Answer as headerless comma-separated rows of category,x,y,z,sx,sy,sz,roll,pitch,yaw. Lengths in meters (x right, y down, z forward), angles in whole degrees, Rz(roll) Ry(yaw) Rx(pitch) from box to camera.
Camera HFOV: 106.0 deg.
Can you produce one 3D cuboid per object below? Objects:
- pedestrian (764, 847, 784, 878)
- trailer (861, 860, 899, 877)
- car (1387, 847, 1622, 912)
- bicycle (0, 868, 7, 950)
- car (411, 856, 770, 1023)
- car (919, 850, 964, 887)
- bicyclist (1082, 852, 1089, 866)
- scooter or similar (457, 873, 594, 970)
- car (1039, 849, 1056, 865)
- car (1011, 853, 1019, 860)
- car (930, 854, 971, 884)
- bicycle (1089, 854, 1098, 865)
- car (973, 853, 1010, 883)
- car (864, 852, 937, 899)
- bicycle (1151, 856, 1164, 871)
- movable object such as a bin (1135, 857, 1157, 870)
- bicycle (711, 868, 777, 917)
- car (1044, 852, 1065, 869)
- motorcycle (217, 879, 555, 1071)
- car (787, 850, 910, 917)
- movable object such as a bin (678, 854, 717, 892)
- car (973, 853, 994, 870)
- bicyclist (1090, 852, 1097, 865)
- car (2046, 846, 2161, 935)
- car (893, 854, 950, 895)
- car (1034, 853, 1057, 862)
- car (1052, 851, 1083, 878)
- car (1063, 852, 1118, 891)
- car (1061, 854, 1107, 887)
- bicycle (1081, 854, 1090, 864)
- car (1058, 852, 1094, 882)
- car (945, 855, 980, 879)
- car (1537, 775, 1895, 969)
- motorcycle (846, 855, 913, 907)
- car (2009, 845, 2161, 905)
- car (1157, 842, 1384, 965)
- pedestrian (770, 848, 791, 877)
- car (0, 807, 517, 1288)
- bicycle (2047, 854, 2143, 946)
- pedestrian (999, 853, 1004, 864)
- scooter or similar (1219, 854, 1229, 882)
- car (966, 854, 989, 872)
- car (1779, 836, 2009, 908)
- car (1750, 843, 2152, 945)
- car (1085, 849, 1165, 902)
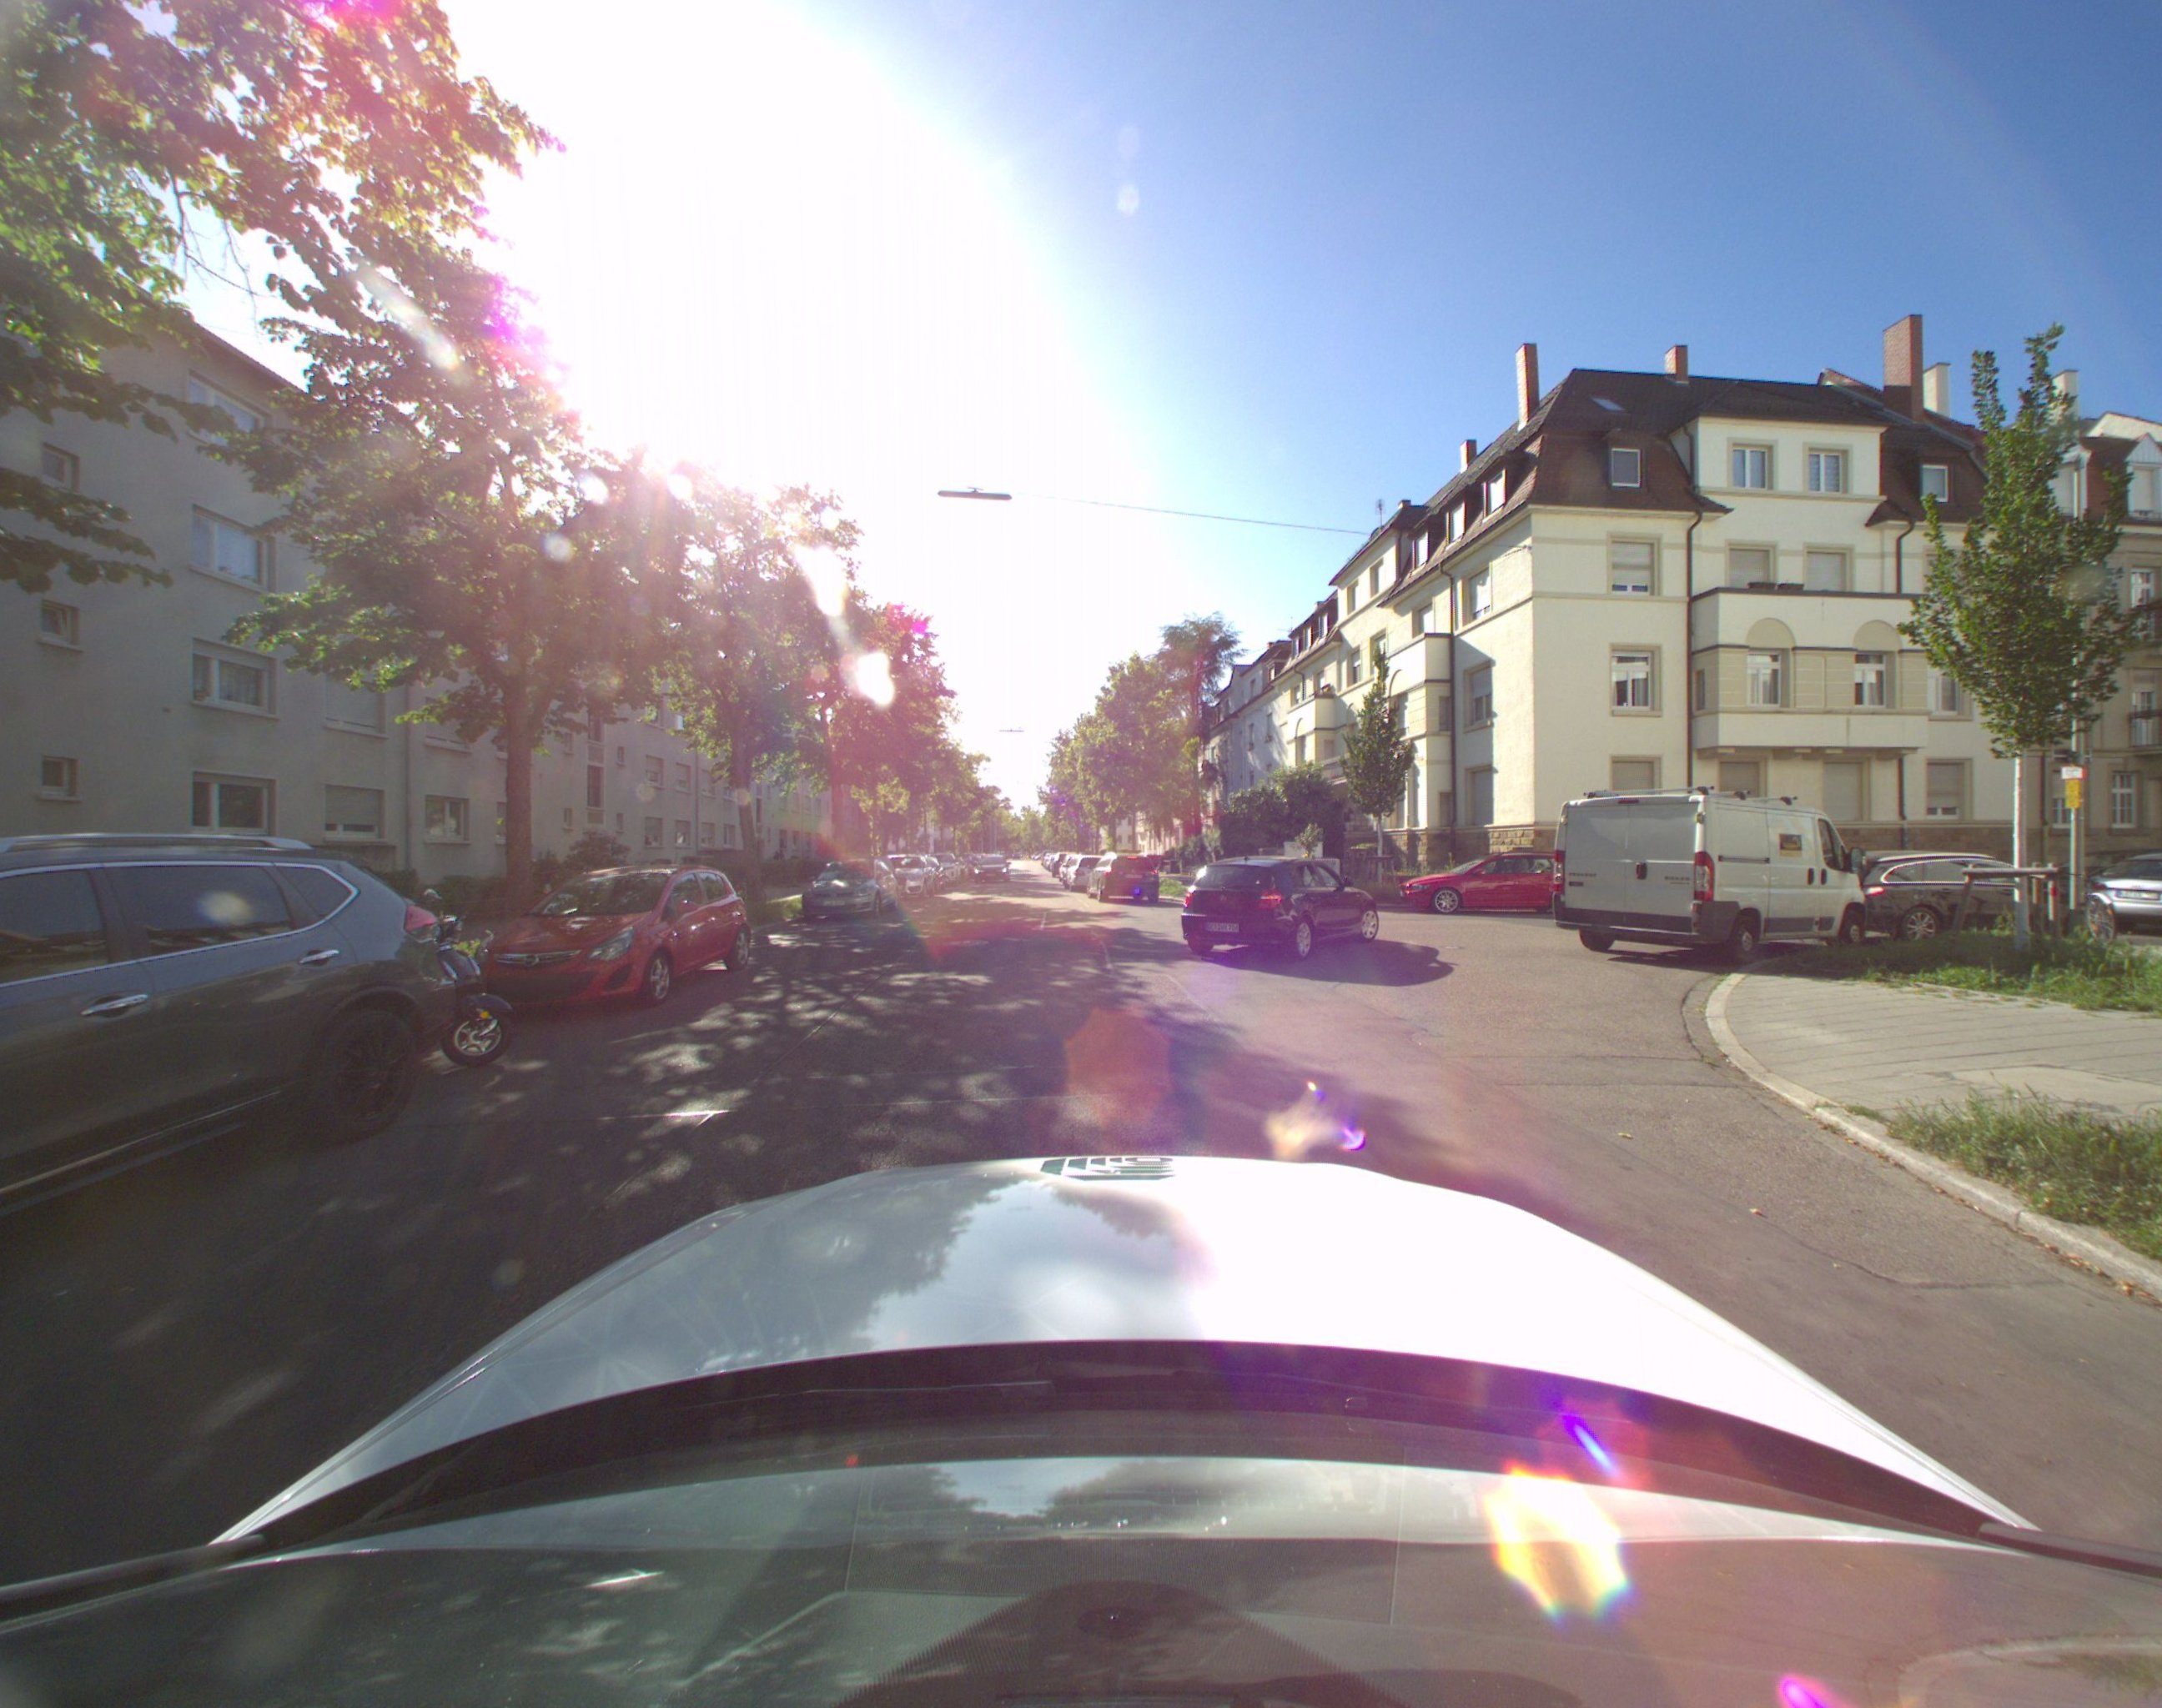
pedestrian,-19.599,0.545,51.990,0.774,1.913,0.883,-1,0,23
trailer,-13.454,0.946,54.580,1.784,1.034,3.279,-1,0,-2
car,10.075,0.598,19.746,4.689,1.469,1.959,-1,0,10
bicycle,-16.058,0.805,10.963,0.684,1.201,1.910,-1,0,-2
car,-5.284,0.783,9.556,1.852,1.469,4.177,-1,0,-4
car,-6.894,0.688,40.530,1.725,1.618,4.359,-4,0,-5
bicyclist,0.488,0.575,92.712,0.676,1.609,0.919,-1,0,-7
scooter or similar,-7.816,0.902,11.531,0.550,1.235,1.523,-1,0,26
car,-4.312,0.399,103.999,1.967,1.949,4.977,-1,0,-4
car,-15.586,0.652,192.606,1.782,1.609,3.989,-1,0,-8
car,-7.271,0.806,45.851,1.725,1.477,4.613,-4,0,-4
bicycle,1.418,0.622,92.744,0.683,1.153,2.397,-1,0,-7
car,-4.718,0.729,43.605,1.806,1.445,4.359,-2,0,-5
car,-6.274,0.687,28.810,2.062,1.524,4.711,-1,0,-7
bicycle,5.253,0.650,55.940,0.580,0.975,1.902,-1,0,-2
movable object such as a bin,4.757,0.711,59.415,1.212,0.905,1.671,-1,0,16
bicycle,-8.058,0.901,19.572,0.528,1.015,2.091,6,0,2
car,-2.760,0.638,83.751,1.903,1.699,4.307,2,0,-4
motorcycle,-5.262,0.888,6.249,1.944,1.332,0.788,-1,0,3
car,-5.819,0.669,20.999,2.038,1.524,4.601,-1,0,-3
movable object such as a bin,-14.062,0.688,29.906,0.929,1.324,1.375,-1,0,-9
car,-9.411,0.680,78.677,1.706,1.544,3.925,-3,0,-3
bicyclist,1.447,0.513,92.481,0.675,1.553,1.019,-1,0,-7
car,20.303,0.593,14.240,4.920,1.429,1.958,-1,2,-5
car,-6.552,0.798,33.981,1.725,1.446,4.813,-3,0,-5
car,-6.383,0.632,145.418,3.985,1.587,1.722,-1,0,-8
car,-0.951,0.634,54.122,1.921,1.651,5.090,1,0,-2
car,0.319,0.690,33.891,1.818,1.469,4.900,1,0,-5
car,0.073,0.736,38.869,1.708,1.410,4.853,1,0,-5
bicycle,0.474,0.598,92.806,0.683,1.153,2.397,-1,0,-7
car,-0.312,0.698,44.575,1.651,1.532,3.962,2,0,-5
car,-7.649,0.807,52.821,1.776,1.379,4.257,-2,0,-3
car,9.288,0.184,11.857,5.068,2.306,2.215,-1,0,-28
motorcycle,-6.167,0.797,24.834,0.995,1.503,2.206,-1,0,-44
car,27.215,0.507,20.953,4.917,1.469,1.825,0,0,-4
car,3.020,0.616,12.344,1.765,1.523,4.025,-1,0,39
pedestrian,-19.661,0.542,53.273,0.930,1.888,1.025,-1,0,-1
car,-4.729,0.696,3.330,1.765,1.688,4.806,-1,0,-5
bicycle,14.159,0.595,11.414,2.004,1.174,0.654,0,-1,-44
pedestrian,-14.692,0.835,150.579,0.716,1.900,0.833,-1,0,-14
scooter or similar,6.226,0.596,35.470,0.399,1.185,1.209,-1,1,11
car,-9.183,0.783,72.546,1.808,1.596,4.226,-1,0,-4
car,20.108,0.414,20.234,4.165,1.641,1.831,-1,0,-6
car,14.271,0.593,13.527,4.921,1.469,2.043,-1,0,-6
car,1.290,0.648,26.172,1.893,1.524,4.958,0,-1,-5
